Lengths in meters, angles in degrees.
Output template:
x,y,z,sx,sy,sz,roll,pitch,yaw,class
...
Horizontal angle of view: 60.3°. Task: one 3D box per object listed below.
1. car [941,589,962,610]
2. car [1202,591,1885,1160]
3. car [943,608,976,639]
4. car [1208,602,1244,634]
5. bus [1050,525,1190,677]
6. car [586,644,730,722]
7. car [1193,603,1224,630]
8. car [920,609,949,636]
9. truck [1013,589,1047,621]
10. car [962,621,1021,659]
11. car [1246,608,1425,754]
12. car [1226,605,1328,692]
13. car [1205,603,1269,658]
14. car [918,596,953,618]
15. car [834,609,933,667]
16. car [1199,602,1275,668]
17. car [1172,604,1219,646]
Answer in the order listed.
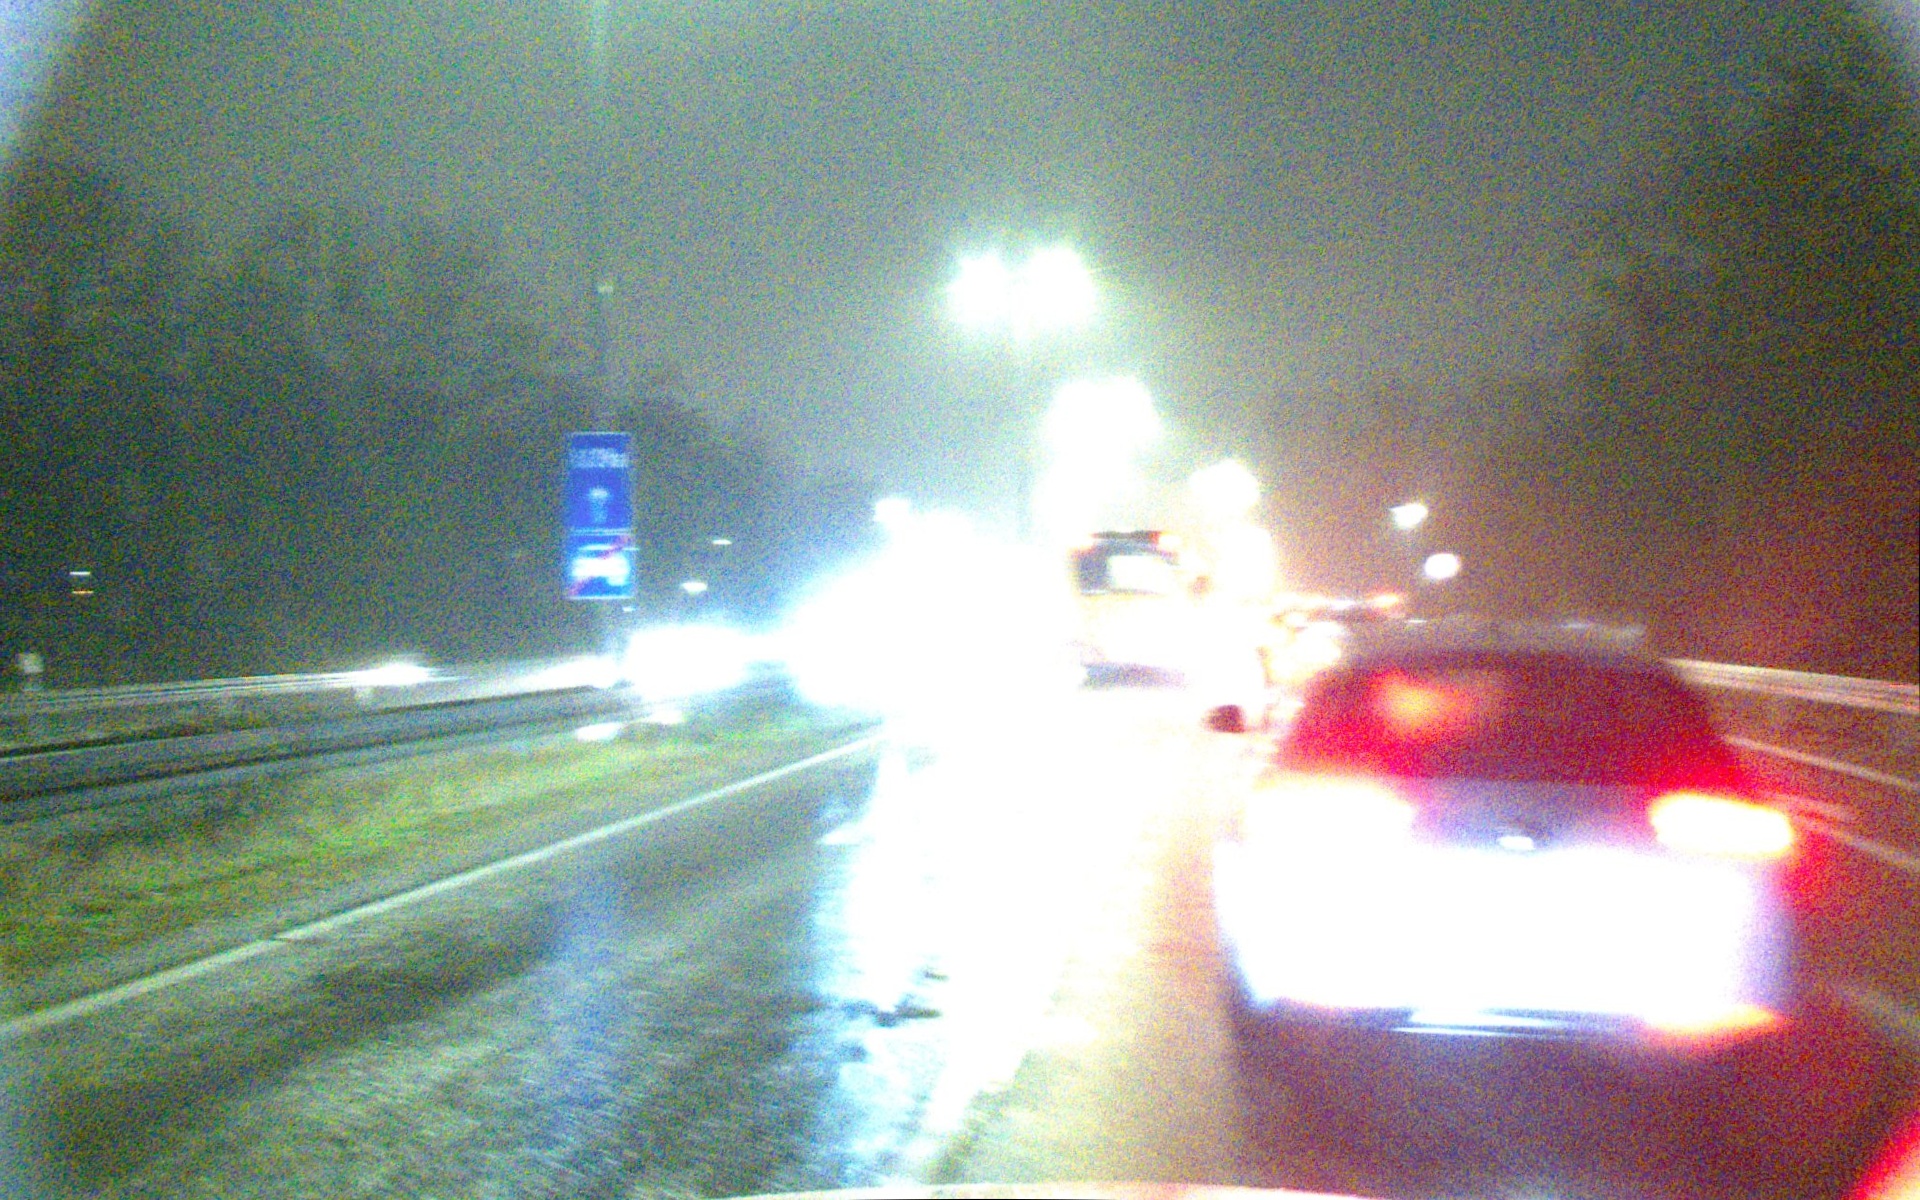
x,y,z,sx,sy,sz,roll,pitch,yaw,class
-0.875,-0.033,171.510,2.079,2.049,3.998,1,-1,-3,car
1.990,0.749,6.809,1.782,1.510,4.571,-1,0,10,car
-0.012,1.568,112.062,1.951,2.049,4.002,0,-1,4,car
14.193,0.941,88.344,1.781,1.618,3.780,-1,0,8,car
3.849,0.035,37.986,2.755,3.077,8.694,0,0,9,bus
-6.402,1.733,35.479,1.576,1.406,4.167,-3,-1,11,car
15.479,1.012,103.146,1.781,1.618,3.780,-1,0,8,car
-1.981,1.785,131.021,1.951,2.049,4.002,0,-1,4,car
5.828,0.379,137.603,1.822,2.434,4.769,-2,3,-9,truck
1.397,1.709,71.526,1.816,1.502,4.783,-1,0,10,car
4.236,0.834,19.252,1.694,1.474,4.729,0,0,9,car
6.078,0.889,32.067,1.702,1.592,3.779,0,0,7,car
8.626,0.929,51.726,1.781,1.618,3.779,-1,0,7,car
-2.408,0.693,162.753,1.970,2.049,3.965,1,-1,-27,car
-1.937,0.947,43.292,1.576,1.406,4.750,-1,0,10,car
7.275,0.899,43.662,1.781,1.618,3.779,-1,0,7,car
9.160,0.957,64.301,1.741,1.570,3.878,0,0,8,car
